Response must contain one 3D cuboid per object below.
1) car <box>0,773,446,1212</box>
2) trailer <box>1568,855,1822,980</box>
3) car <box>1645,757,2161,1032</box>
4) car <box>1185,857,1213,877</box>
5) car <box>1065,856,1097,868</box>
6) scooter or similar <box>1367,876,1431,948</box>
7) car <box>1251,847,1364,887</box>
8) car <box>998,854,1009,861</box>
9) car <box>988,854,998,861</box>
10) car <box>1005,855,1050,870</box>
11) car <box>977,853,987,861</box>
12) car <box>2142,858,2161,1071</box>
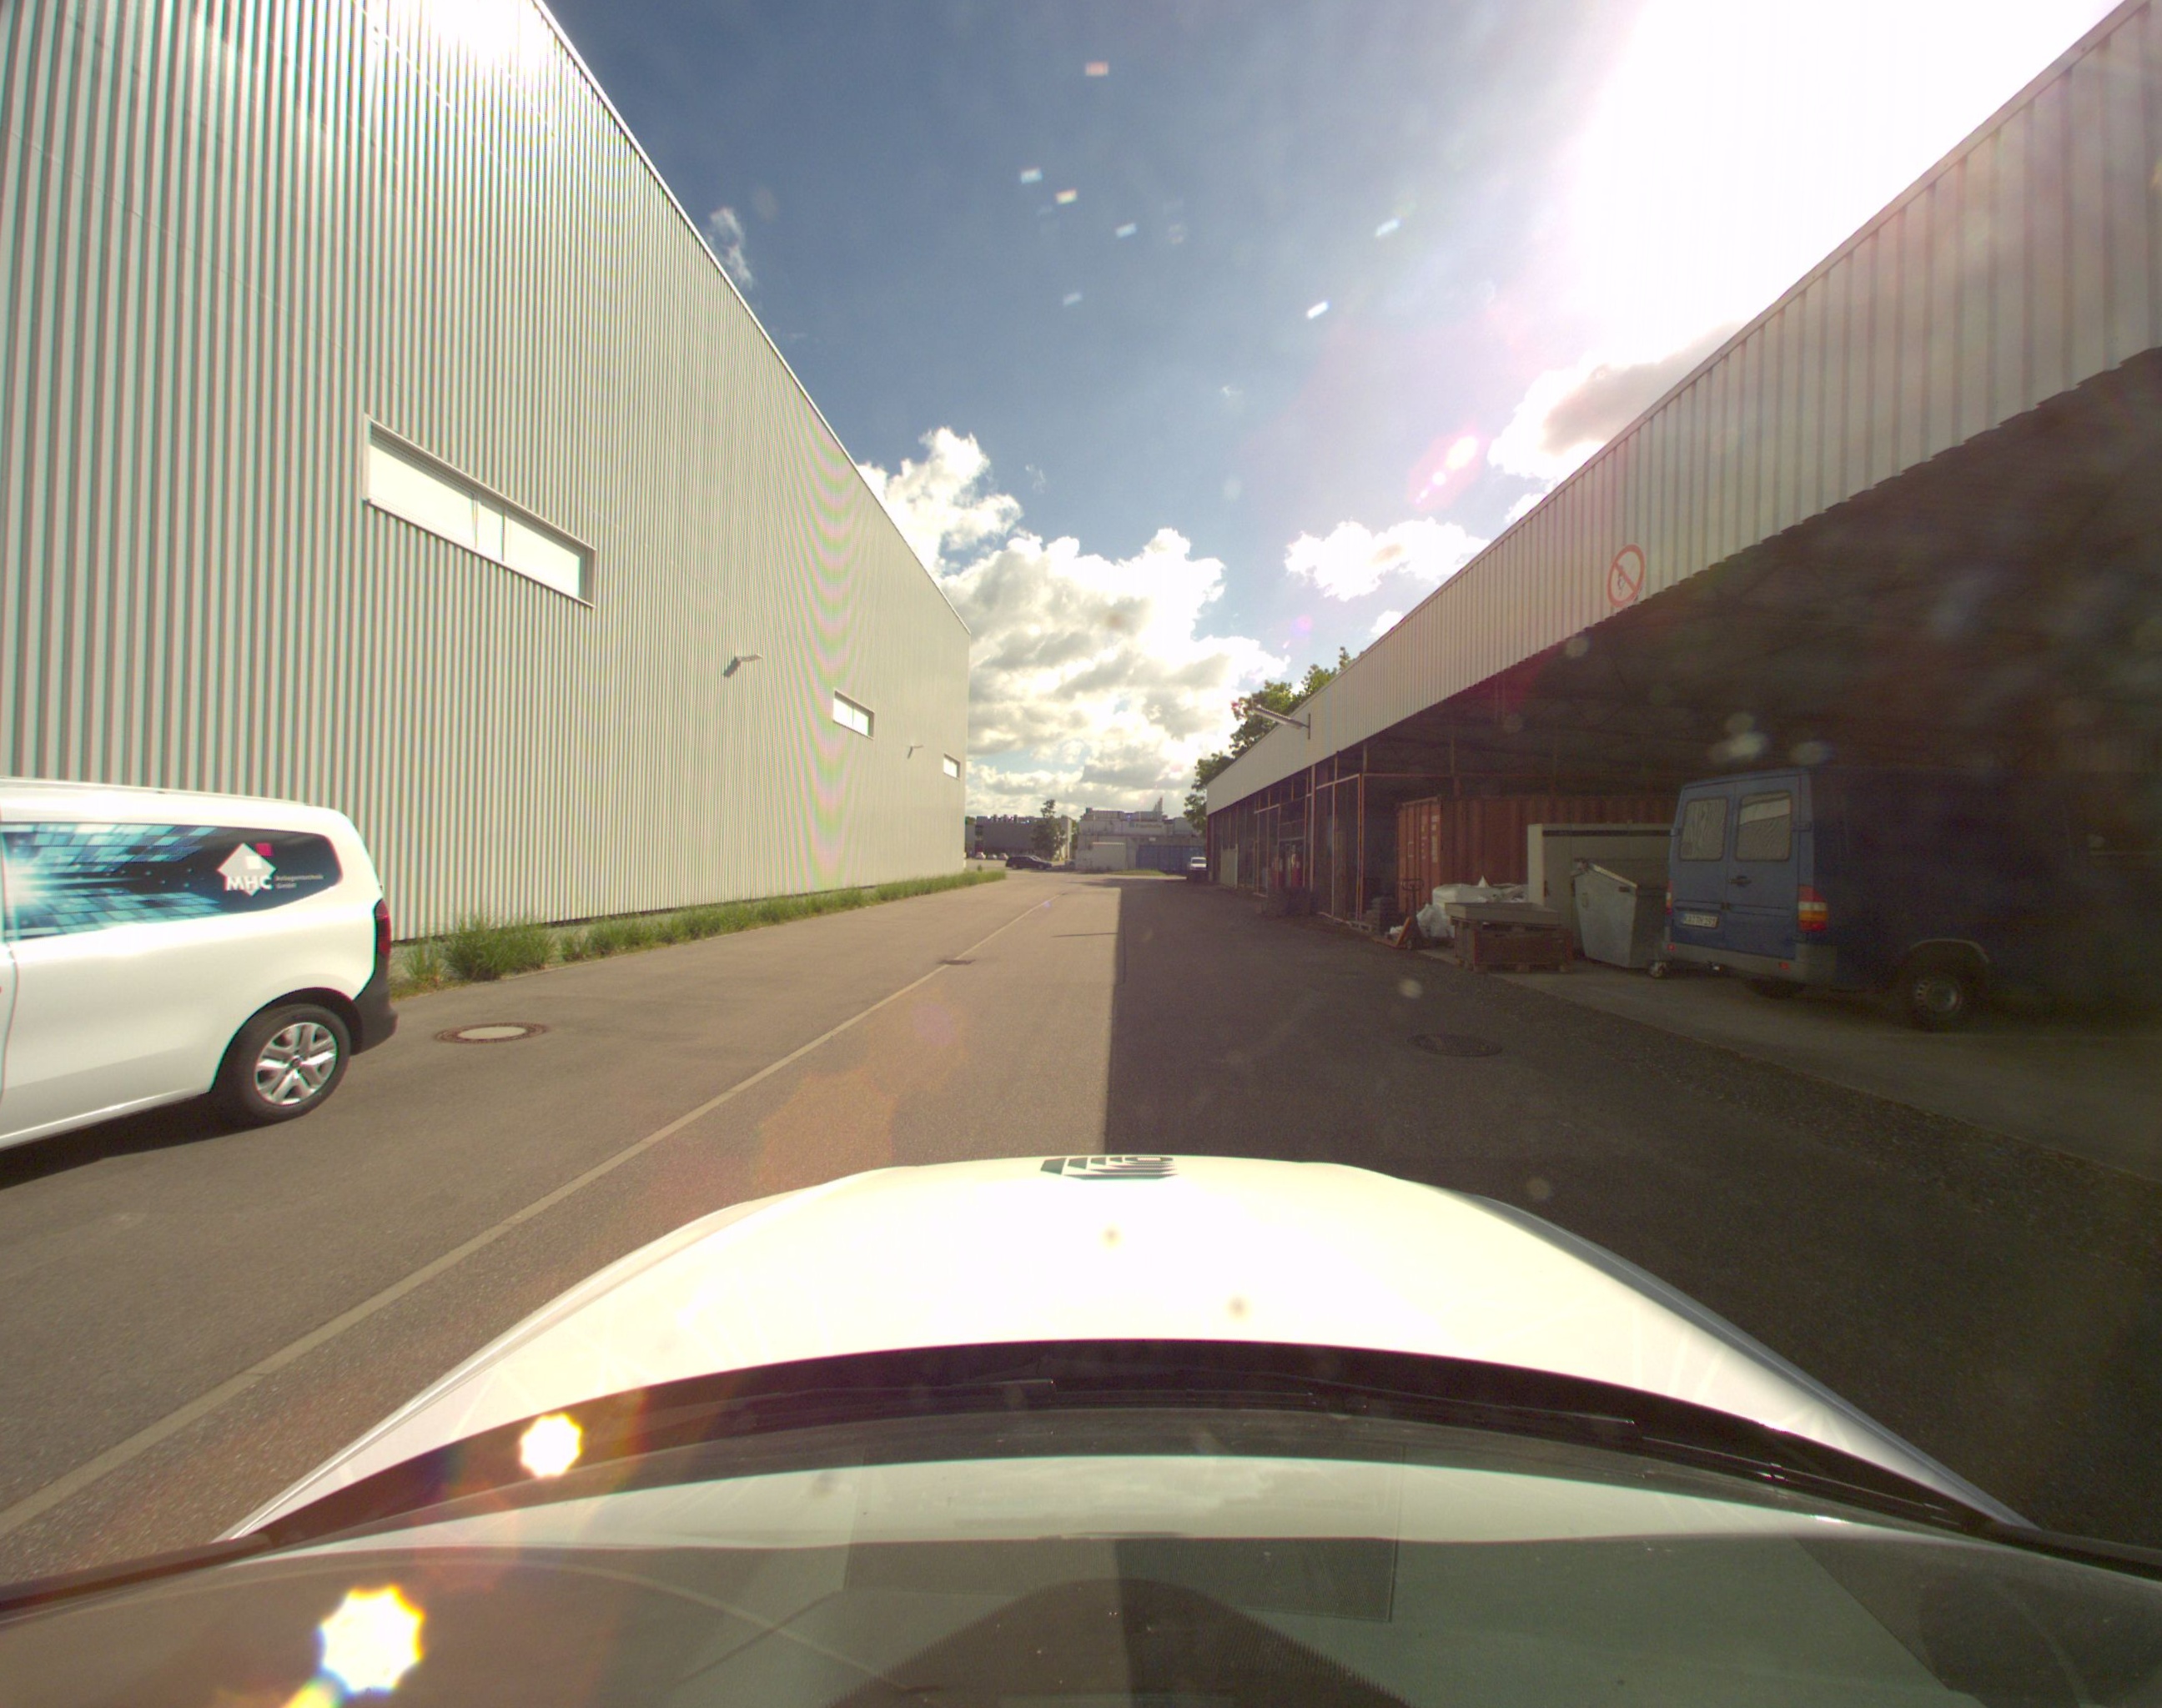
[{"bbox_3d":[-5.355,0.529,3.173,1.920,1.790,4.601,2,0,3],"label":"car"},{"bbox_3d":[7.788,0.759,10.521,2.084,1.462,1.644,0,-1,5],"label":"trailer"},{"bbox_3d":[8.778,0.347,7.884,5.196,2.297,2.085,0,-1,1],"label":"car"},{"bbox_3d":[10.450,1.100,72.313,1.973,1.593,4.343,1,1,2],"label":"car"},{"bbox_3d":[0.019,1.062,113.050,4.262,1.569,1.988,1,-2,2],"label":"car"},{"bbox_3d":[5.351,0.950,13.781,0.518,1.134,1.593,0,-1,2],"label":"scooter or similar"},{"bbox_3d":[11.564,0.642,41.779,5.153,1.918,2.276,1,-1,-3],"label":"car"},{"bbox_3d":[-17.396,0.710,182.990,1.871,1.537,4.035,-1,-1,0],"label":"car"},{"bbox_3d":[-19.724,0.732,182.845,1.871,1.537,4.035,-1,-1,0],"label":"car"},{"bbox_3d":[-5.574,0.909,85.459,4.511,1.443,1.988,1,-2,2],"label":"car"},{"bbox_3d":[-22.274,0.685,183.082,1.871,1.689,4.035,-1,-1,0],"label":"car"},{"bbox_3d":[9.376,0.724,4.657,4.091,1.454,1.851,-1,-1,2],"label":"car"}]
